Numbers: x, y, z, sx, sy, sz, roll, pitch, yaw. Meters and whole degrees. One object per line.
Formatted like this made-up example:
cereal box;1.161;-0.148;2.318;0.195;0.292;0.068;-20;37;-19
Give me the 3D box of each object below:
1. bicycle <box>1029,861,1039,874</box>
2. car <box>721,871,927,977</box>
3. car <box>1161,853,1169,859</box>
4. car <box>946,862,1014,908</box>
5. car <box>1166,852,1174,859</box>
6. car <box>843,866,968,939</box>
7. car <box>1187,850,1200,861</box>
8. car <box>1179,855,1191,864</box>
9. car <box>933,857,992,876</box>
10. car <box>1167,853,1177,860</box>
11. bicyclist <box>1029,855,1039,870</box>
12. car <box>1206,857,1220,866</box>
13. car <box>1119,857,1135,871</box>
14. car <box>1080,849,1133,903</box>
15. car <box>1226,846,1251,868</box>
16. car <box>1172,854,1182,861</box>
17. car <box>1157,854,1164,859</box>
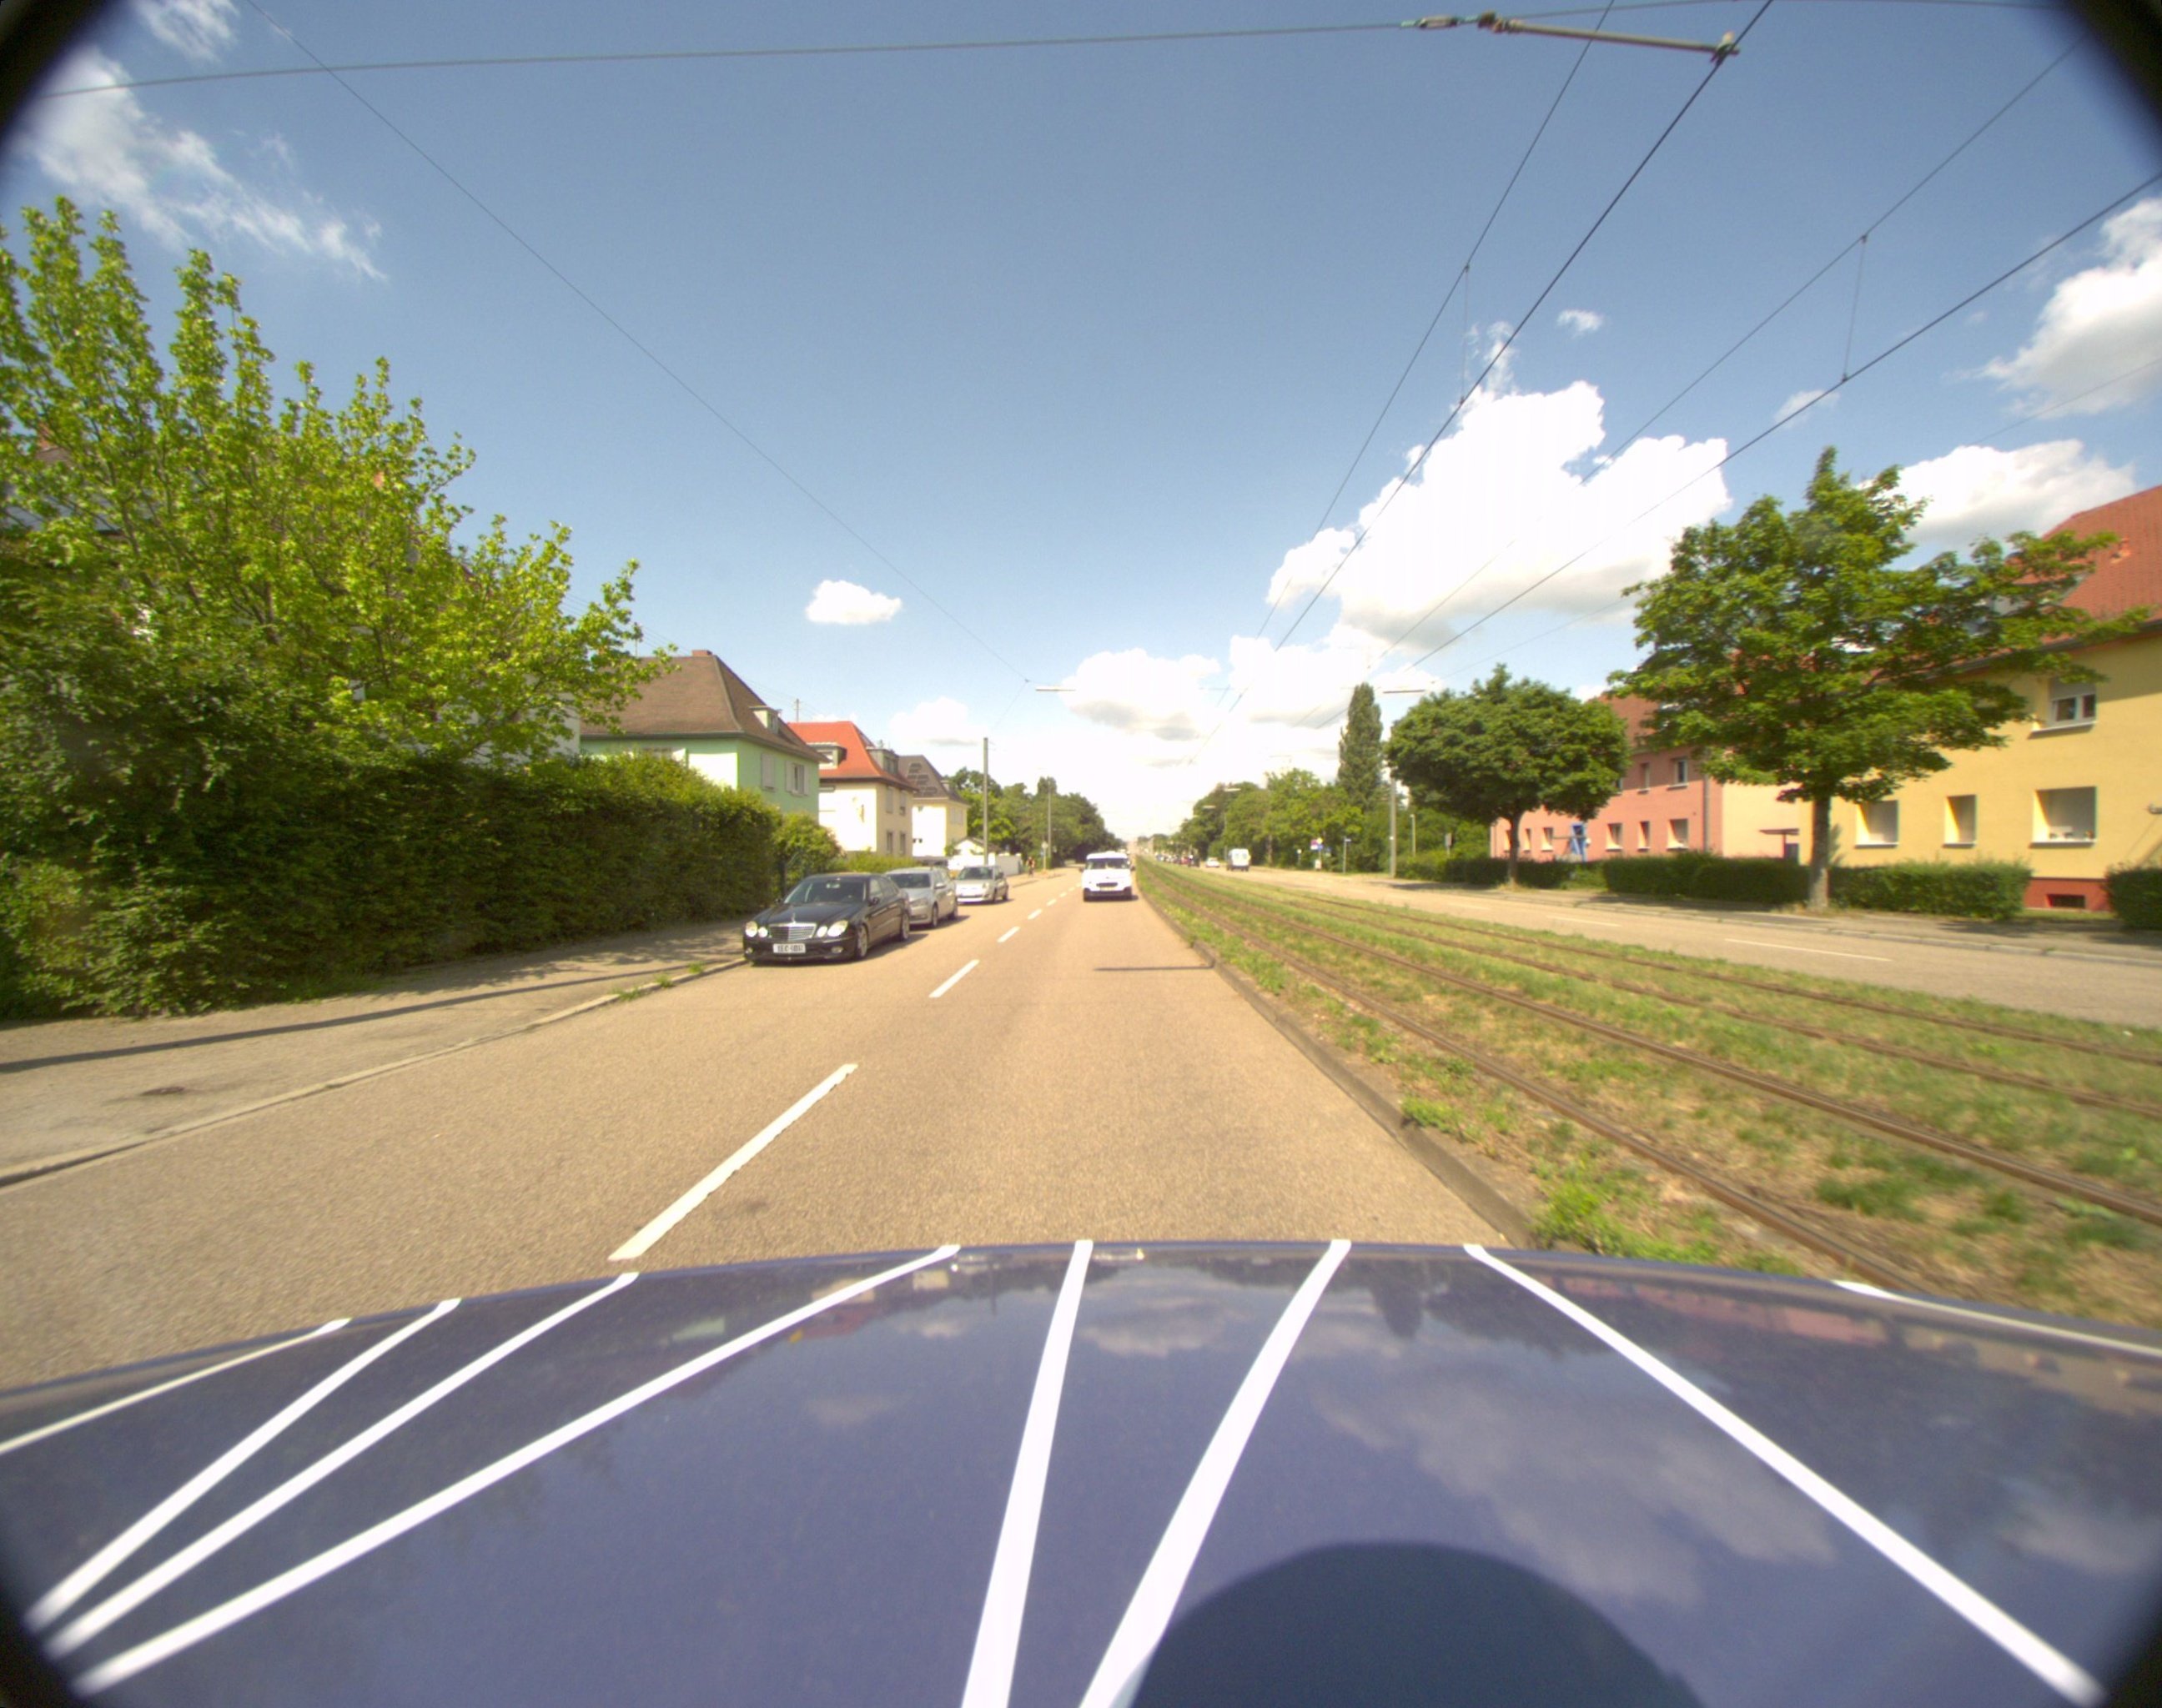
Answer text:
bicycle;-4.094;1.182;66.186;0.556;1.059;1.524;0;0;10
car;-4.386;1.117;13.975;1.904;1.435;5.058;-2;0;2
car;22.779;0.553;205.495;2.120;1.641;4.278;0;0;5
car;-3.735;1.113;28.736;1.741;1.481;4.095;-2;1;4
car;22.169;0.316;189.037;1.921;1.641;4.278;0;0;5
car;-4.288;1.115;19.412;1.894;1.447;5.006;-2;1;1
car;17.455;0.253;117.715;1.689;1.736;4.228;0;0;3
car;19.055;0.944;139.147;1.731;1.569;4.277;0;0;2
car;-9.550;1.024;61.482;4.458;1.452;1.764;1;0;4
car;20.749;0.617;174.295;2.120;1.641;4.278;0;0;5
bicyclist;-4.106;0.751;66.102;0.690;1.345;0.665;0;0;10
car;20.363;1.112;117.431;1.689;1.422;4.277;0;0;3
car;5.934;1.280;97.530;1.998;1.576;4.000;-2;1;3
car;0.955;0.775;28.843;1.777;1.850;4.375;-2;0;2
car;18.273;0.329;88.417;2.036;2.422;5.779;1;0;3
car;19.731;0.789;156.240;1.731;1.386;4.278;0;0;5
car;26.775;0.960;256.319;2.120;1.641;4.278;0;0;5
